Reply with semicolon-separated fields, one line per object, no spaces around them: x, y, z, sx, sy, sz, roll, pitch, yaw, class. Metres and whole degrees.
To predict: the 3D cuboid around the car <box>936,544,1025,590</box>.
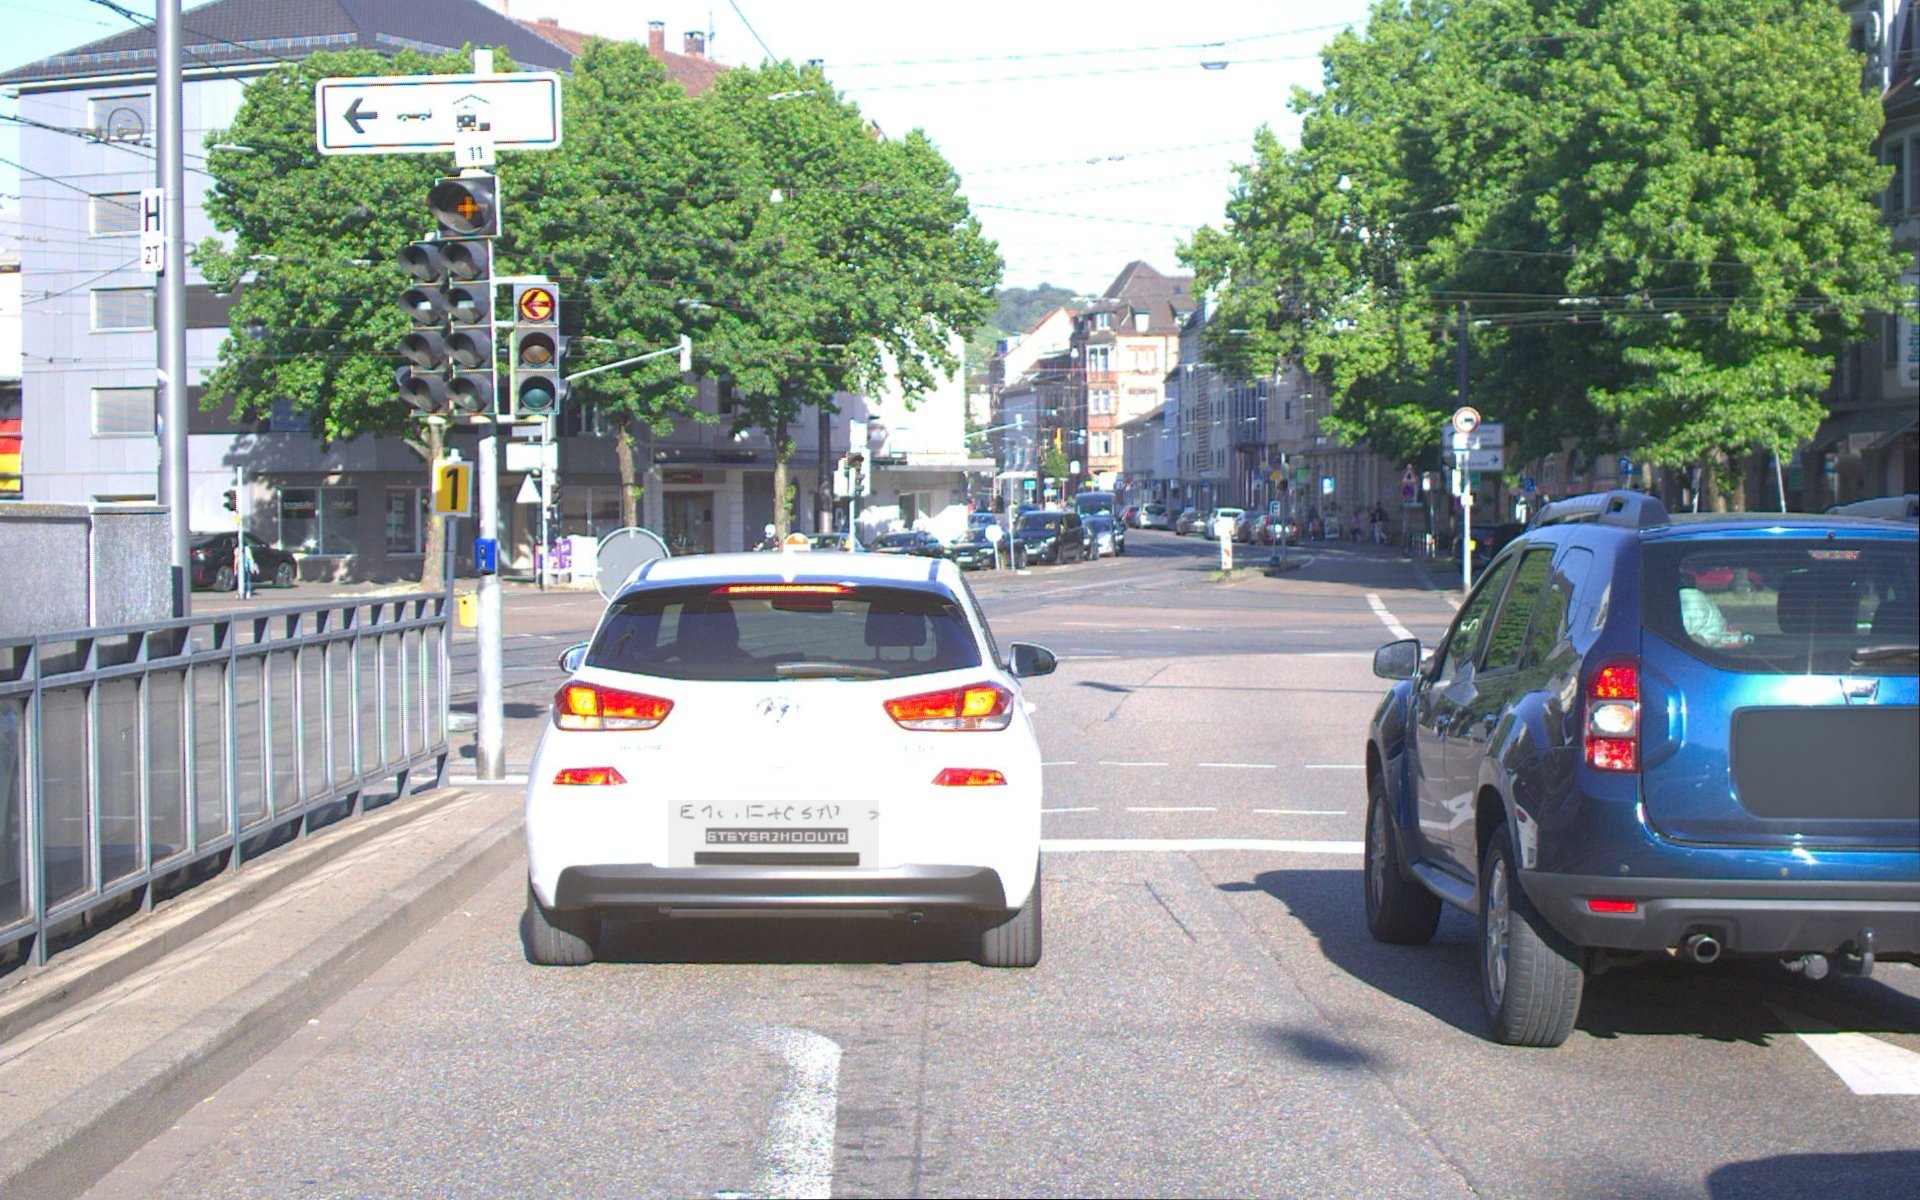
0.714;-1.102;114.000;1.796;1.505;3.996;0;0;18;car

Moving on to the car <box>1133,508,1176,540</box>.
12.144;-4.724;214.576;2.327;2.007;4.977;0;1;-1;car

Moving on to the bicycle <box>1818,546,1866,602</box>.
17.745;-0.538;69.202;0.609;1.104;1.800;0;1;4;bicycle

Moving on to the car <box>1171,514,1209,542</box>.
12.674;-3.989;189.561;1.794;1.517;4.000;0;1;-1;car

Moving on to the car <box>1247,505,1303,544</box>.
14.424;-3.470;157.633;2.105;1.770;4.342;0;1;-1;car

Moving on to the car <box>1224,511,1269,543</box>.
13.662;-3.464;164.164;1.794;1.505;4.000;0;1;-1;car

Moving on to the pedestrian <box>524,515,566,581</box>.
-11.226;-1.405;92.967;0.837;1.765;0.781;0;1;25;pedestrian

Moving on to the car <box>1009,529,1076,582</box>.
2.937;-1.579;121.425;1.795;1.820;3.999;0;1;10;car

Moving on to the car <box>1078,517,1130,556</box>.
5.694;-2.505;136.026;1.794;1.505;4.000;0;1;-2;car

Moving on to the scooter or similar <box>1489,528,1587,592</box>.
11.618;-0.817;69.187;1.949;1.276;0.552;1;1;41;scooter or similar

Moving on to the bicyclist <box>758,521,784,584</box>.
-5.257;-1.317;95.583;0.468;1.739;0.716;0;1;23;bicyclist

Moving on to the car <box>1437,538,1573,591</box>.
15.841;-1.050;99.855;3.989;1.505;1.799;-1;1;-42;car

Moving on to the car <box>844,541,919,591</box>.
-2.400;-1.057;105.946;1.794;1.505;3.999;0;0;7;car

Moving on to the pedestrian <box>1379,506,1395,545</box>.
18.495;-3.228;148.952;0.648;1.645;0.650;1;0;10;pedestrian

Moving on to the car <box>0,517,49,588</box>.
-27.019;-1.313;94.755;1.796;1.949;3.997;0;1;18;car

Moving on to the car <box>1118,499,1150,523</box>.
11.145;-5.660;219.936;1.794;1.505;4.000;0;1;-1;car

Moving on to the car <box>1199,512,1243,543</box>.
12.926;-3.601;170.325;1.794;1.505;4.000;0;1;-1;car

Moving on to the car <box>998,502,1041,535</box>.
2.748;-3.759;158.928;1.794;1.505;4.000;0;1;-2;car

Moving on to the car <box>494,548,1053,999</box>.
-0.645;0.539;13.235;1.808;1.447;4.000;1;1;-1;car

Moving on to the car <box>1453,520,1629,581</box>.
14.493;-1.235;85.898;3.986;1.505;1.800;0;1;-6;car

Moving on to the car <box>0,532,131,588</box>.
-24.510;-1.110;93.854;1.796;1.505;4.007;0;1;18;car

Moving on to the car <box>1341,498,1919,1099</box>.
2.425;0.503;11.377;1.800;1.632;4.045;0;1;-1;car

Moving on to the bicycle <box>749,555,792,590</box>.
-5.259;-0.770;95.589;0.468;0.953;1.765;0;1;23;bicycle

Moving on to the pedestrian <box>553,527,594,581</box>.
-10.592;-1.272;94.211;0.803;1.479;0.861;0;1;26;pedestrian

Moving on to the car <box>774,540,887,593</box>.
-3.752;-0.966;99.957;1.726;1.505;3.871;0;0;24;car

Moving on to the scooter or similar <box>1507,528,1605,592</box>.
12.078;-0.812;69.736;1.949;1.276;0.552;1;1;41;scooter or similar

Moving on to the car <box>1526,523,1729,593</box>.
14.592;-0.924;75.206;3.986;1.505;1.801;0;1;-9;car

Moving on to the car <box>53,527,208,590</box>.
-22.127;-1.119;91.833;1.797;1.643;4.004;1;1;29;car

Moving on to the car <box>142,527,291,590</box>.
-19.665;-1.117;91.121;1.923;1.643;4.176;0;1;20;car
